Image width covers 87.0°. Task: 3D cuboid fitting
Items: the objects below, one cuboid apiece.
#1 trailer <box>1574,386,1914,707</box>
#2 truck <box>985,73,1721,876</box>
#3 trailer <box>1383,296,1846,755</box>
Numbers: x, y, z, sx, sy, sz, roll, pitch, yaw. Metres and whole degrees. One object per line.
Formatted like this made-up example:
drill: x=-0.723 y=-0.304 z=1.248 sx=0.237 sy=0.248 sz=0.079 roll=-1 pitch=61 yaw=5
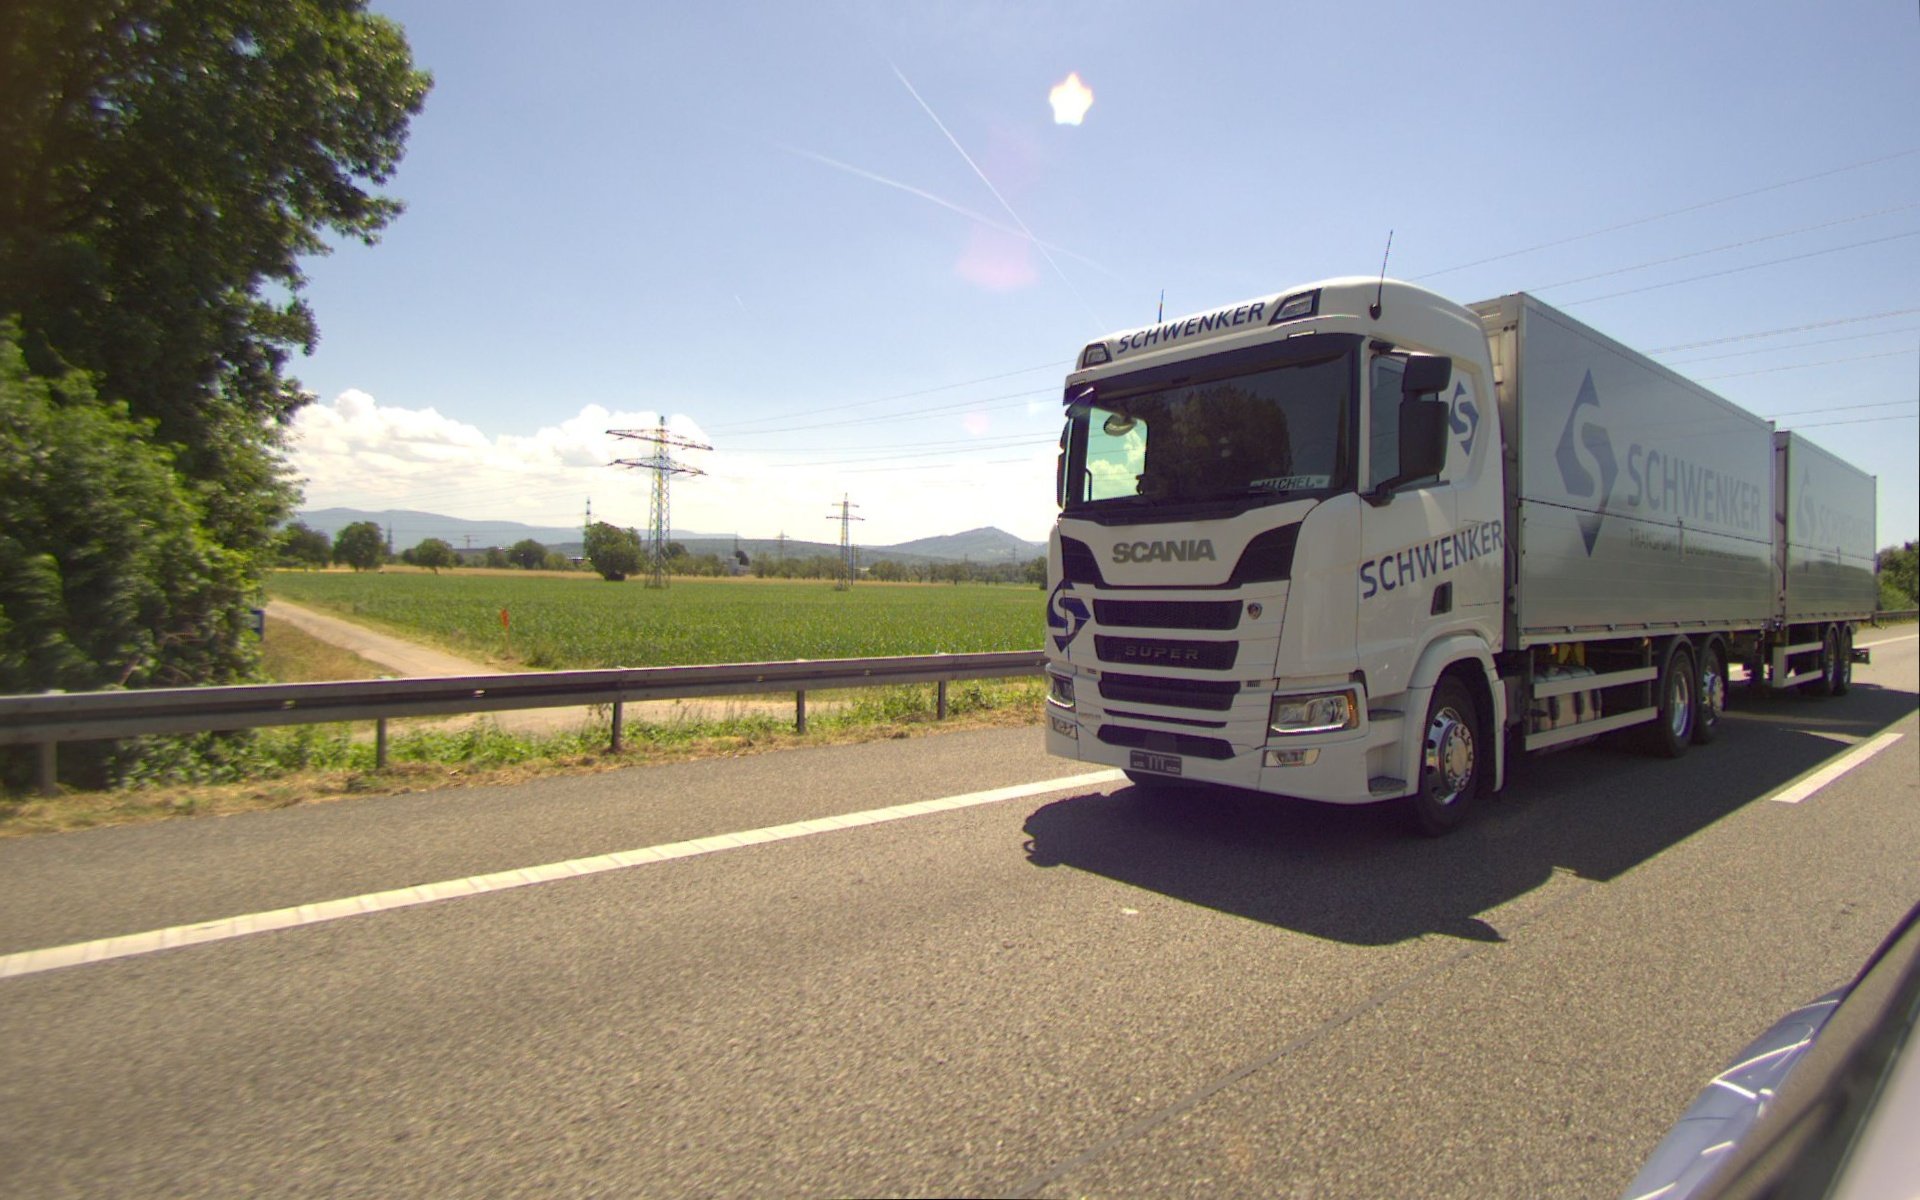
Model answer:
trailer: x=13.214 y=-0.714 z=16.742 sx=7.986 sy=4.114 sz=2.950 roll=0 pitch=0 yaw=-41
truck: x=3.671 y=-0.667 z=8.452 sx=6.749 sy=4.081 sz=2.894 roll=0 pitch=0 yaw=-40
trailer: x=8.369 y=-0.693 z=12.506 sx=7.189 sy=4.092 sz=2.925 roll=0 pitch=0 yaw=-41
